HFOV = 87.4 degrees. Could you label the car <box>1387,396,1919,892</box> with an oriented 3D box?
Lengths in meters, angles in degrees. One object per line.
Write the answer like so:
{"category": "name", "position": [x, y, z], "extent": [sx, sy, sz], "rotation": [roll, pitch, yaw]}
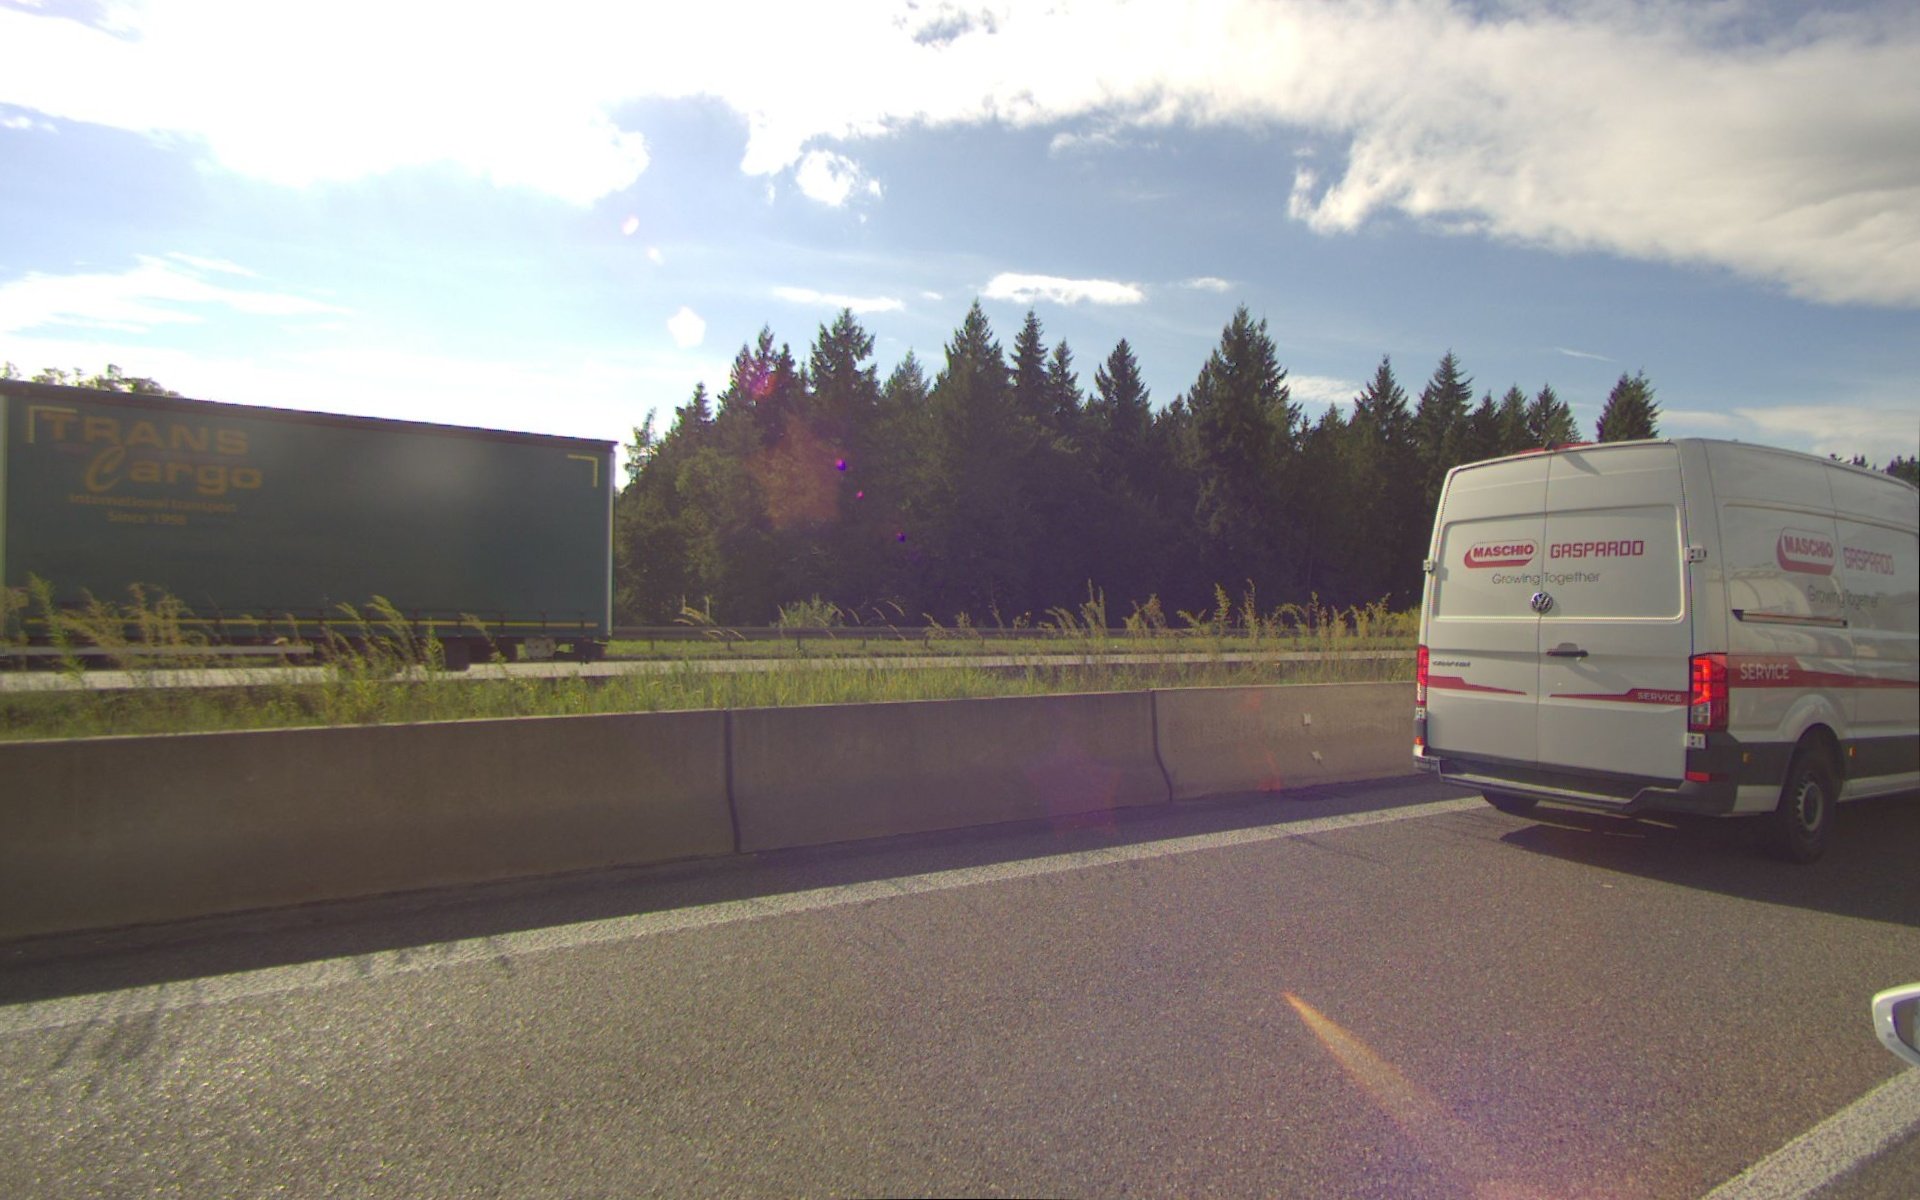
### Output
{"category": "car", "position": [6.139, 0.308, 7.785], "extent": [6.111, 2.633, 2.005], "rotation": [2, -1, -31]}

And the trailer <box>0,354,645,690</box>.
{"category": "trailer", "position": [-9.687, -0.910, 16.047], "extent": [8.456, 4.300, 2.711], "rotation": [1, -1, -32]}

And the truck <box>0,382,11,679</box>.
{"category": "truck", "position": [-17.797, -1.112, 11.053], "extent": [10.227, 4.300, 2.697], "rotation": [1, -1, -32]}

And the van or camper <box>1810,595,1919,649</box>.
{"category": "van or camper", "position": [43.511, 1.057, 48.197], "extent": [5.786, 2.446, 2.446], "rotation": [2, 0, -31]}

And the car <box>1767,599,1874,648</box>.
{"category": "car", "position": [38.822, 1.058, 45.303], "extent": [5.025, 2.085, 2.228], "rotation": [1, 0, -31]}
